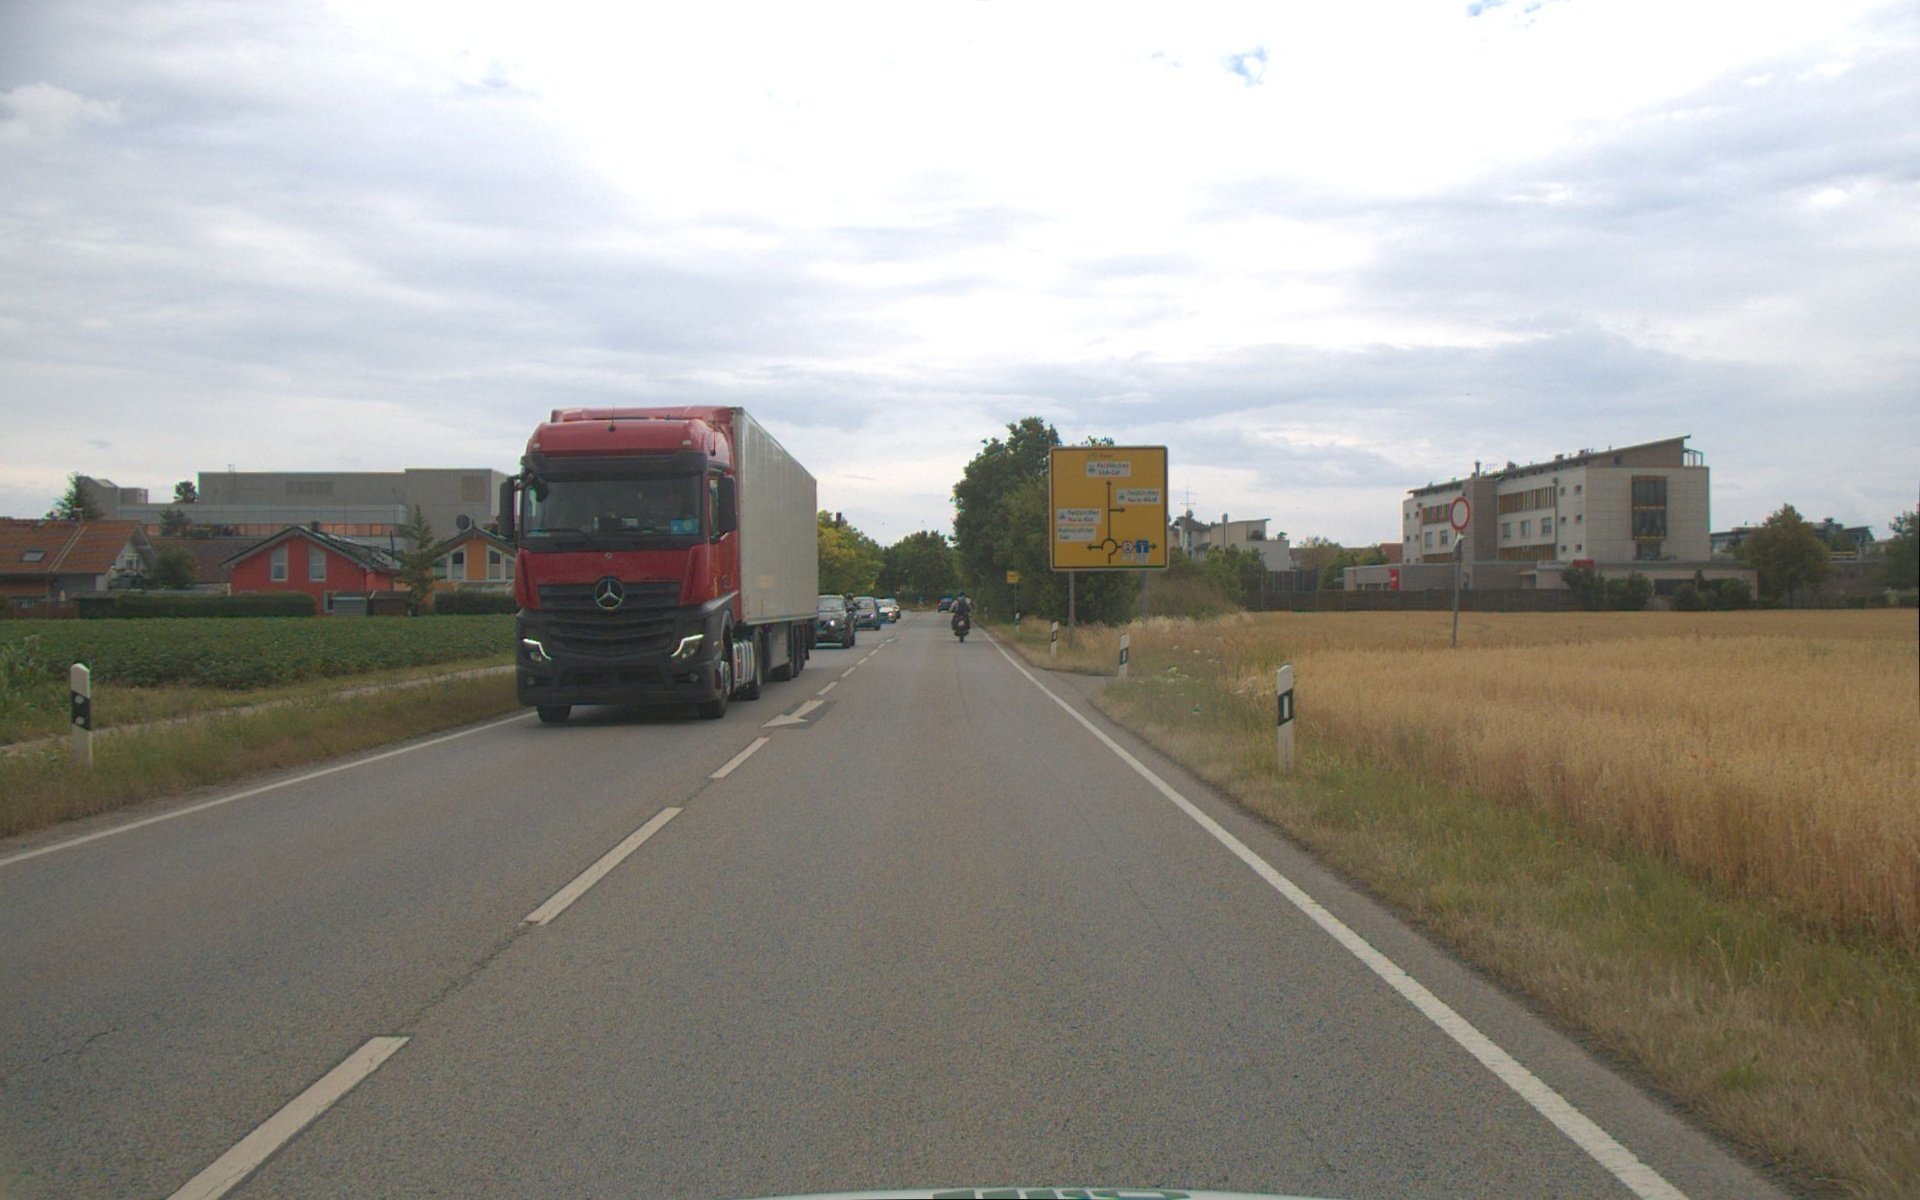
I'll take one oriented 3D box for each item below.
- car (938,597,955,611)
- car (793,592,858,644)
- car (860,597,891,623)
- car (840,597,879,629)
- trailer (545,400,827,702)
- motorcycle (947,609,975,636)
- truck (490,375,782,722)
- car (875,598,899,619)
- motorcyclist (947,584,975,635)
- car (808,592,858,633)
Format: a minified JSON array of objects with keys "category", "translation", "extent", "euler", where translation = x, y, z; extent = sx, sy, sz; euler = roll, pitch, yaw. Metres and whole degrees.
[{"category":"car","translation":[-1.492,0.453,181.807],"extent":[1.817,1.498,3.999],"euler":[-1,0,-1]},{"category":"car","translation":[-4.095,0.527,50.806],"extent":[1.818,1.498,3.998],"euler":[-1,0,-2]},{"category":"car","translation":[-5.203,0.607,101.906],"extent":[1.818,1.498,3.998],"euler":[-1,0,-2]},{"category":"car","translation":[-4.847,0.601,80.198],"extent":[1.818,1.498,3.998],"euler":[-1,0,-2]},{"category":"trailer","translation":[-4.251,-0.671,29.171],"extent":[2.674,4.015,13.780],"euler":[-1,0,0]},{"category":"motorcycle","translation":[0.030,0.779,58.354],"extent":[0.922,0.905,2.145],"euler":[-1,0,-1]},{"category":"truck","translation":[-4.214,-0.616,23.036],"extent":[2.674,4.057,6.815],"euler":[-1,0,0]},{"category":"car","translation":[-5.533,0.644,125.269],"extent":[1.818,1.498,3.998],"euler":[-1,0,-2]},{"category":"motorcyclist","translation":[0.035,0.326,58.427],"extent":[0.922,1.780,1.200],"euler":[-1,0,-1]},{"category":"car","translation":[-4.962,0.473,65.002],"extent":[1.818,1.498,3.998],"euler":[-1,0,-2]}]
